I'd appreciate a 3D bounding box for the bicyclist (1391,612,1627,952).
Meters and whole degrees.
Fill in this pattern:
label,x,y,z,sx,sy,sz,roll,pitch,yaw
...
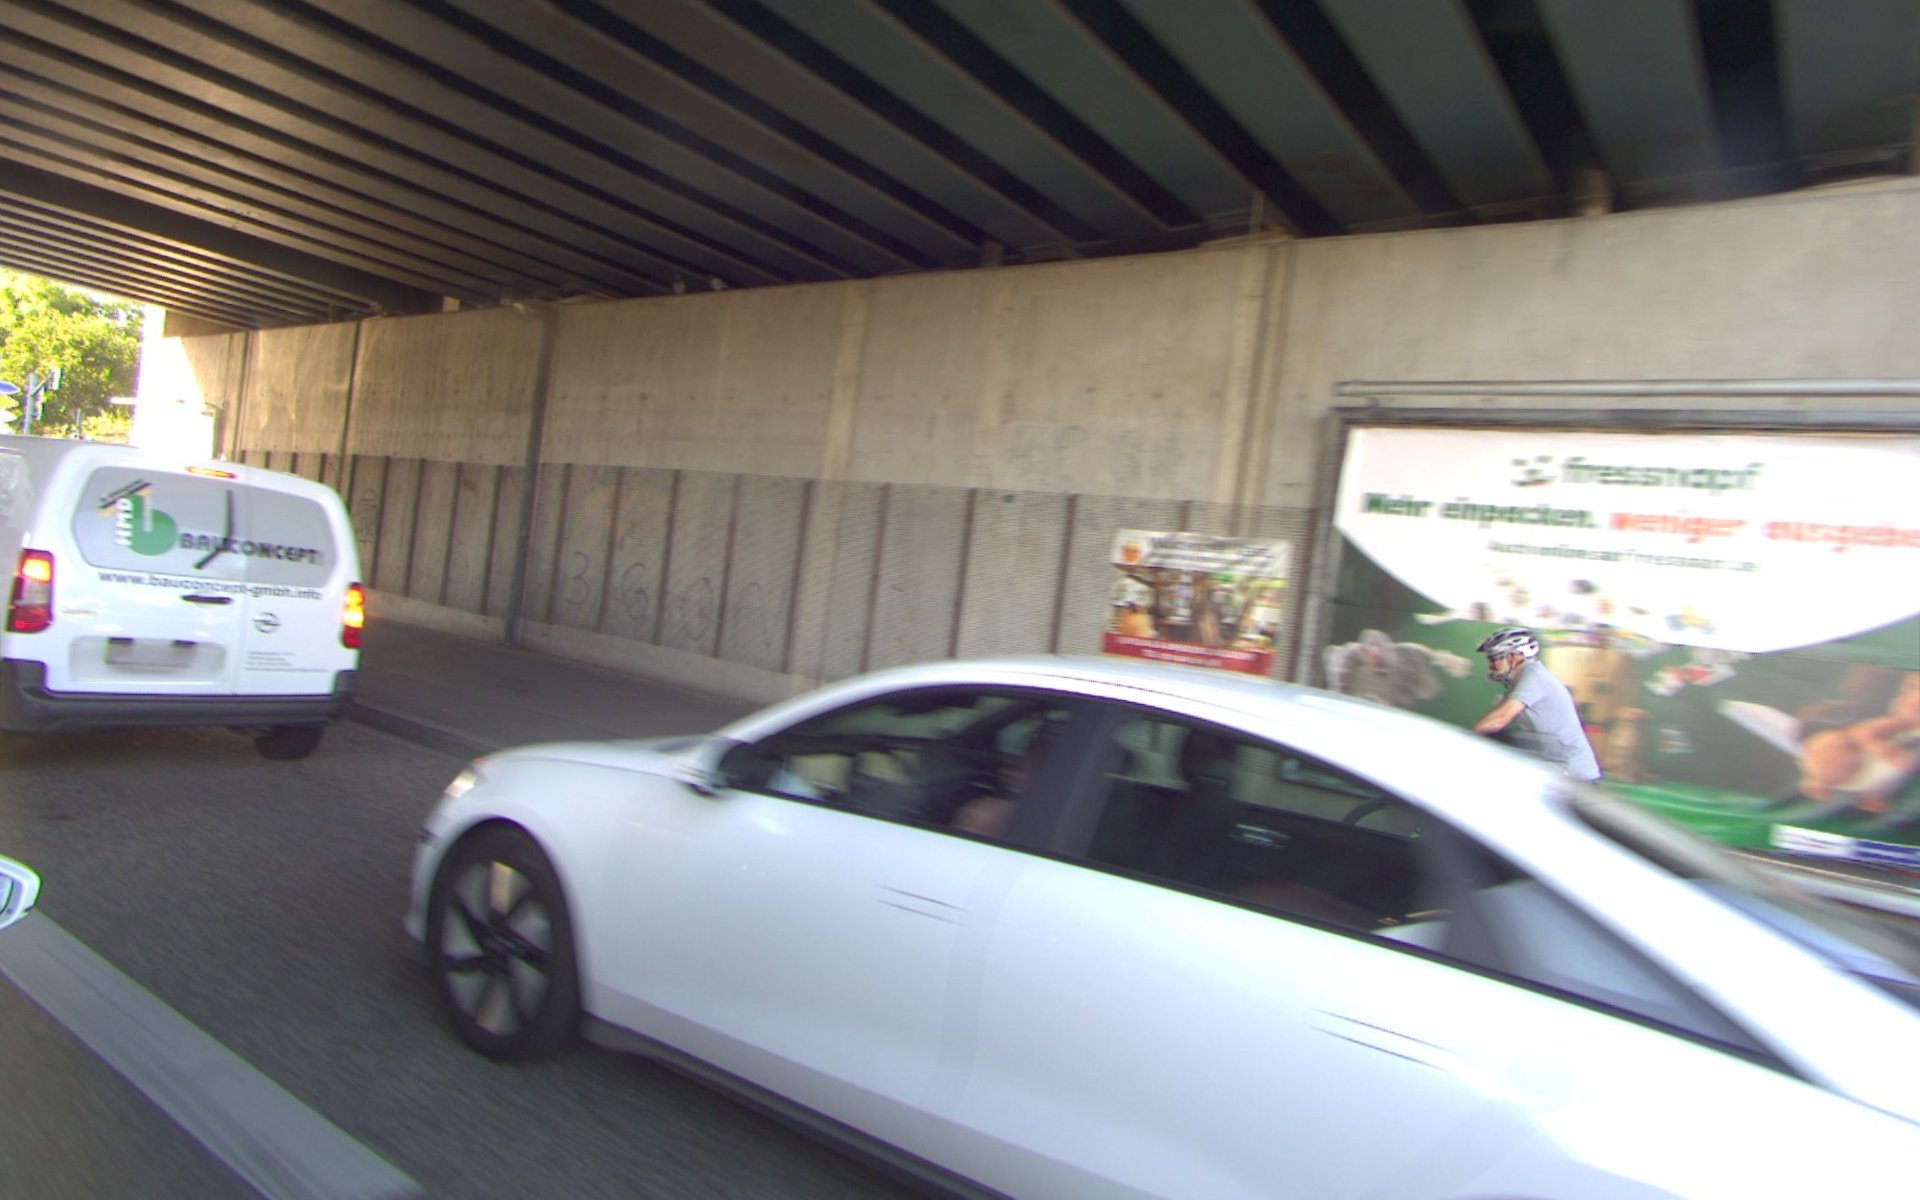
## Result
label,x,y,z,sx,sy,sz,roll,pitch,yaw
bicyclist,2.903,0.889,5.321,0.895,1.544,0.695,7,2,34

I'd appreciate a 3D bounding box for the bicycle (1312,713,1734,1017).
label,x,y,z,sx,sy,sz,roll,pitch,yaw
bicycle,2.898,1.284,5.315,1.732,1.071,0.701,7,2,34

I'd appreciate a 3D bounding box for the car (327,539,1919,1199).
label,x,y,z,sx,sy,sz,roll,pitch,yaw
car,0.324,0.844,3.034,4.585,1.473,1.749,7,-1,30

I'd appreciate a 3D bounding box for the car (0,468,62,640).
label,x,y,z,sx,sy,sz,roll,pitch,yaw
car,-11.414,-0.717,10.598,3.925,1.675,1.781,7,-2,33

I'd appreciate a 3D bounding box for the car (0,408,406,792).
label,x,y,z,sx,sy,sz,roll,pitch,yaw
car,-5.870,-0.109,6.706,4.229,1.855,1.817,6,-2,32
